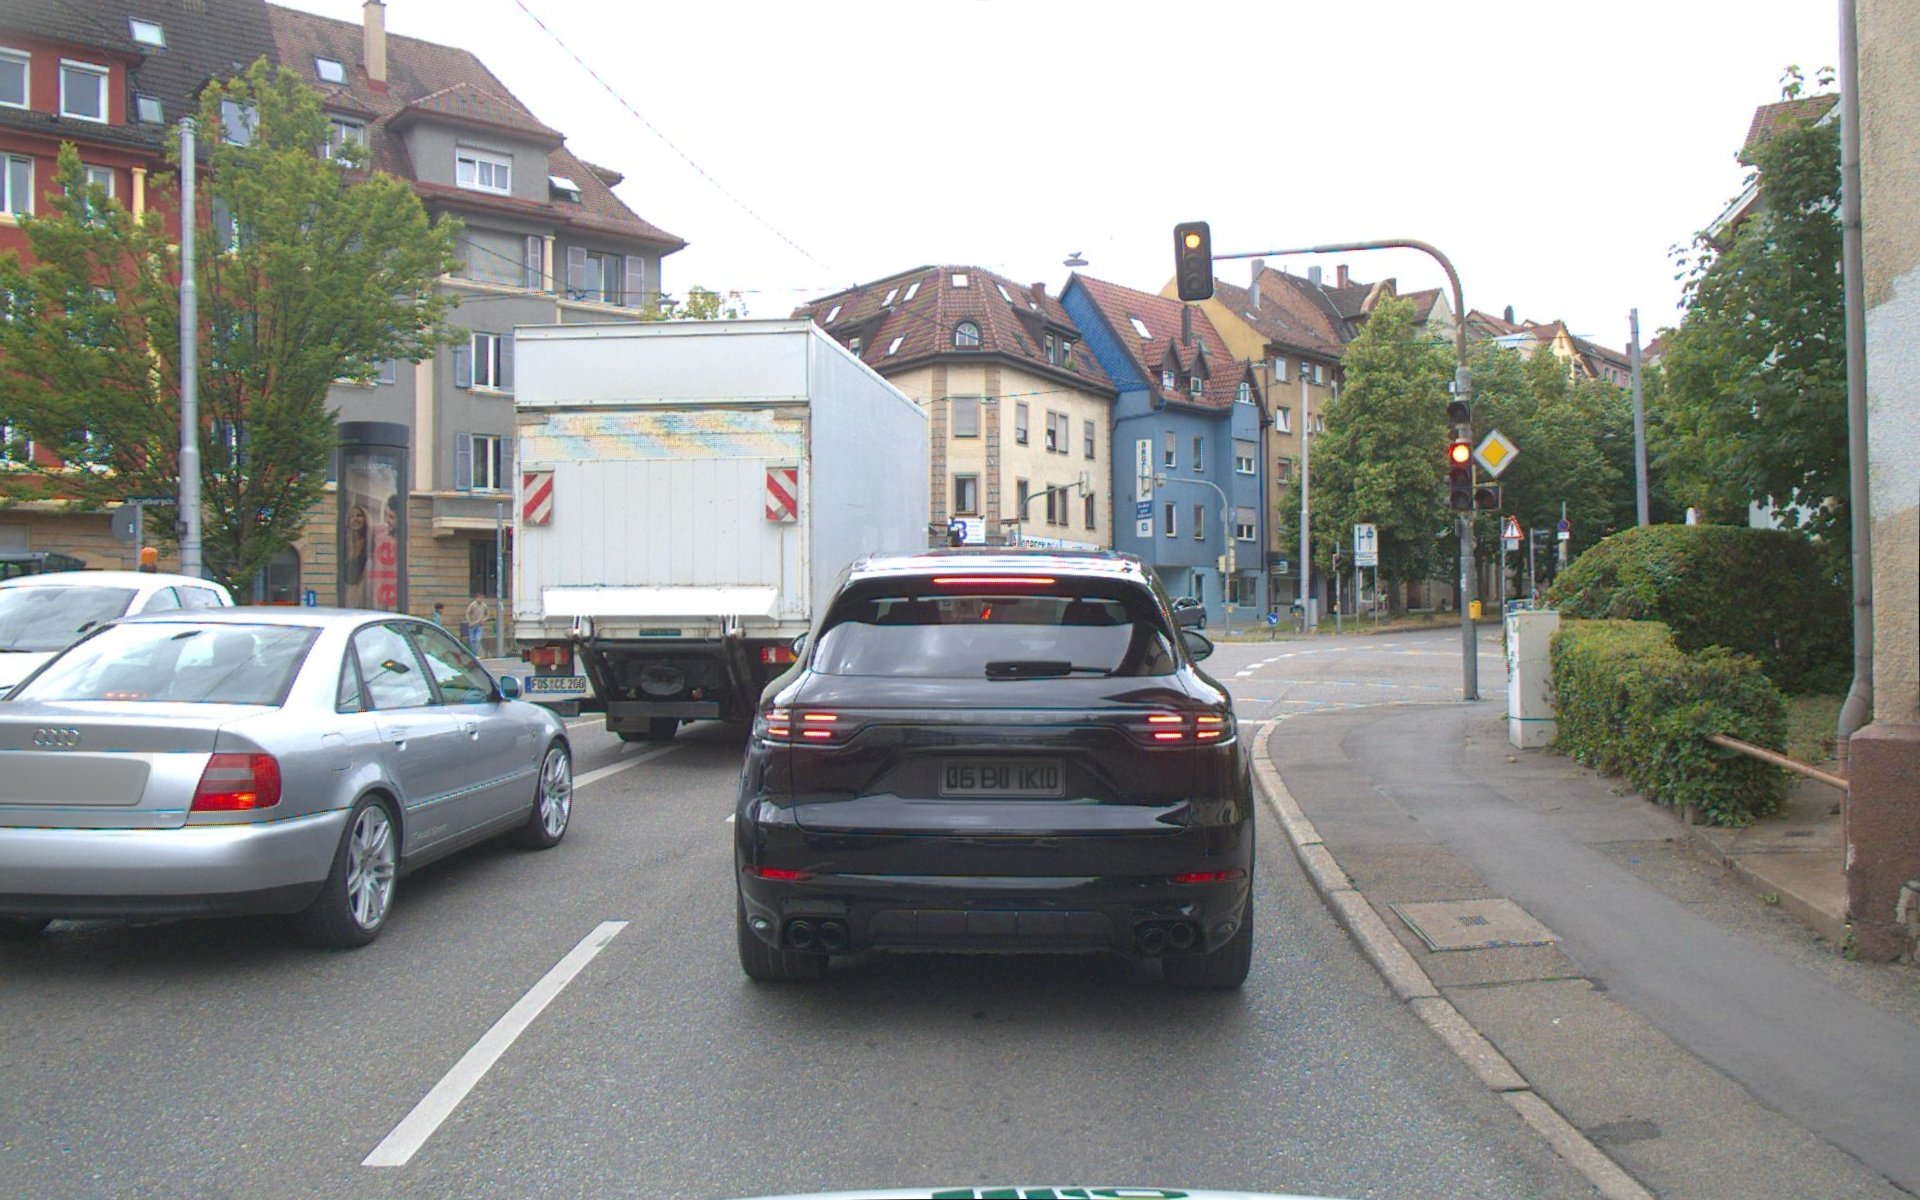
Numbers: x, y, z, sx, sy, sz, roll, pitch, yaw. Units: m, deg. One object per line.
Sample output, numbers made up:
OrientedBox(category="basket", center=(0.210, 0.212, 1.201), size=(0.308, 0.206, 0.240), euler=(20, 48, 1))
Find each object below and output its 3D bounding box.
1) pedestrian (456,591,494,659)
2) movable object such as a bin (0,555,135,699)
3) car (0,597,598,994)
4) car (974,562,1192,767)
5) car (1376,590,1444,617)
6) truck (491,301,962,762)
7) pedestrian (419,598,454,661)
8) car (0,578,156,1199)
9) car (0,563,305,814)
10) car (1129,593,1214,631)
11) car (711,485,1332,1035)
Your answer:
OrientedBox(category="pedestrian", center=(-11.016, 0.559, 37.578), size=(0.648, 1.513, 0.515), euler=(-1, 0, -43))
OrientedBox(category="movable object such as a bin", center=(-13.946, 0.381, 25.470), size=(1.351, 2.049, 3.525), euler=(-1, 0, -12))
OrientedBox(category="car", center=(-3.112, 0.701, 7.972), size=(1.594, 1.389, 4.130), euler=(-1, 0, 3))
OrientedBox(category="car", center=(1.210, 0.512, 14.798), size=(1.613, 1.583, 3.586), euler=(1, 0, 9))
OrientedBox(category="car", center=(24.778, 0.207, 90.943), size=(1.841, 1.441, 4.673), euler=(1, 0, 40))
OrientedBox(category="truck", center=(-1.872, -0.545, 17.302), size=(2.667, 3.606, 8.428), euler=(-1, 0, 8))
OrientedBox(category="pedestrian", center=(-11.613, 0.648, 36.693), size=(0.577, 1.361, 0.569), euler=(-1, 0, -36))
OrientedBox(category="car", center=(-2.705, 0.711, 1.170), size=(1.953, 1.454, 4.841), euler=(-1, 0, -1))
OrientedBox(category="car", center=(-6.600, 0.570, 12.294), size=(1.734, 1.548, 4.084), euler=(-2, 0, 1))
OrientedBox(category="car", center=(9.157, 0.548, 71.312), size=(1.690, 1.502, 4.197), euler=(0, -2, 39))
OrientedBox(category="car", center=(0.173, 0.528, 7.610), size=(1.990, 1.753, 4.499), euler=(1, 0, -1))
